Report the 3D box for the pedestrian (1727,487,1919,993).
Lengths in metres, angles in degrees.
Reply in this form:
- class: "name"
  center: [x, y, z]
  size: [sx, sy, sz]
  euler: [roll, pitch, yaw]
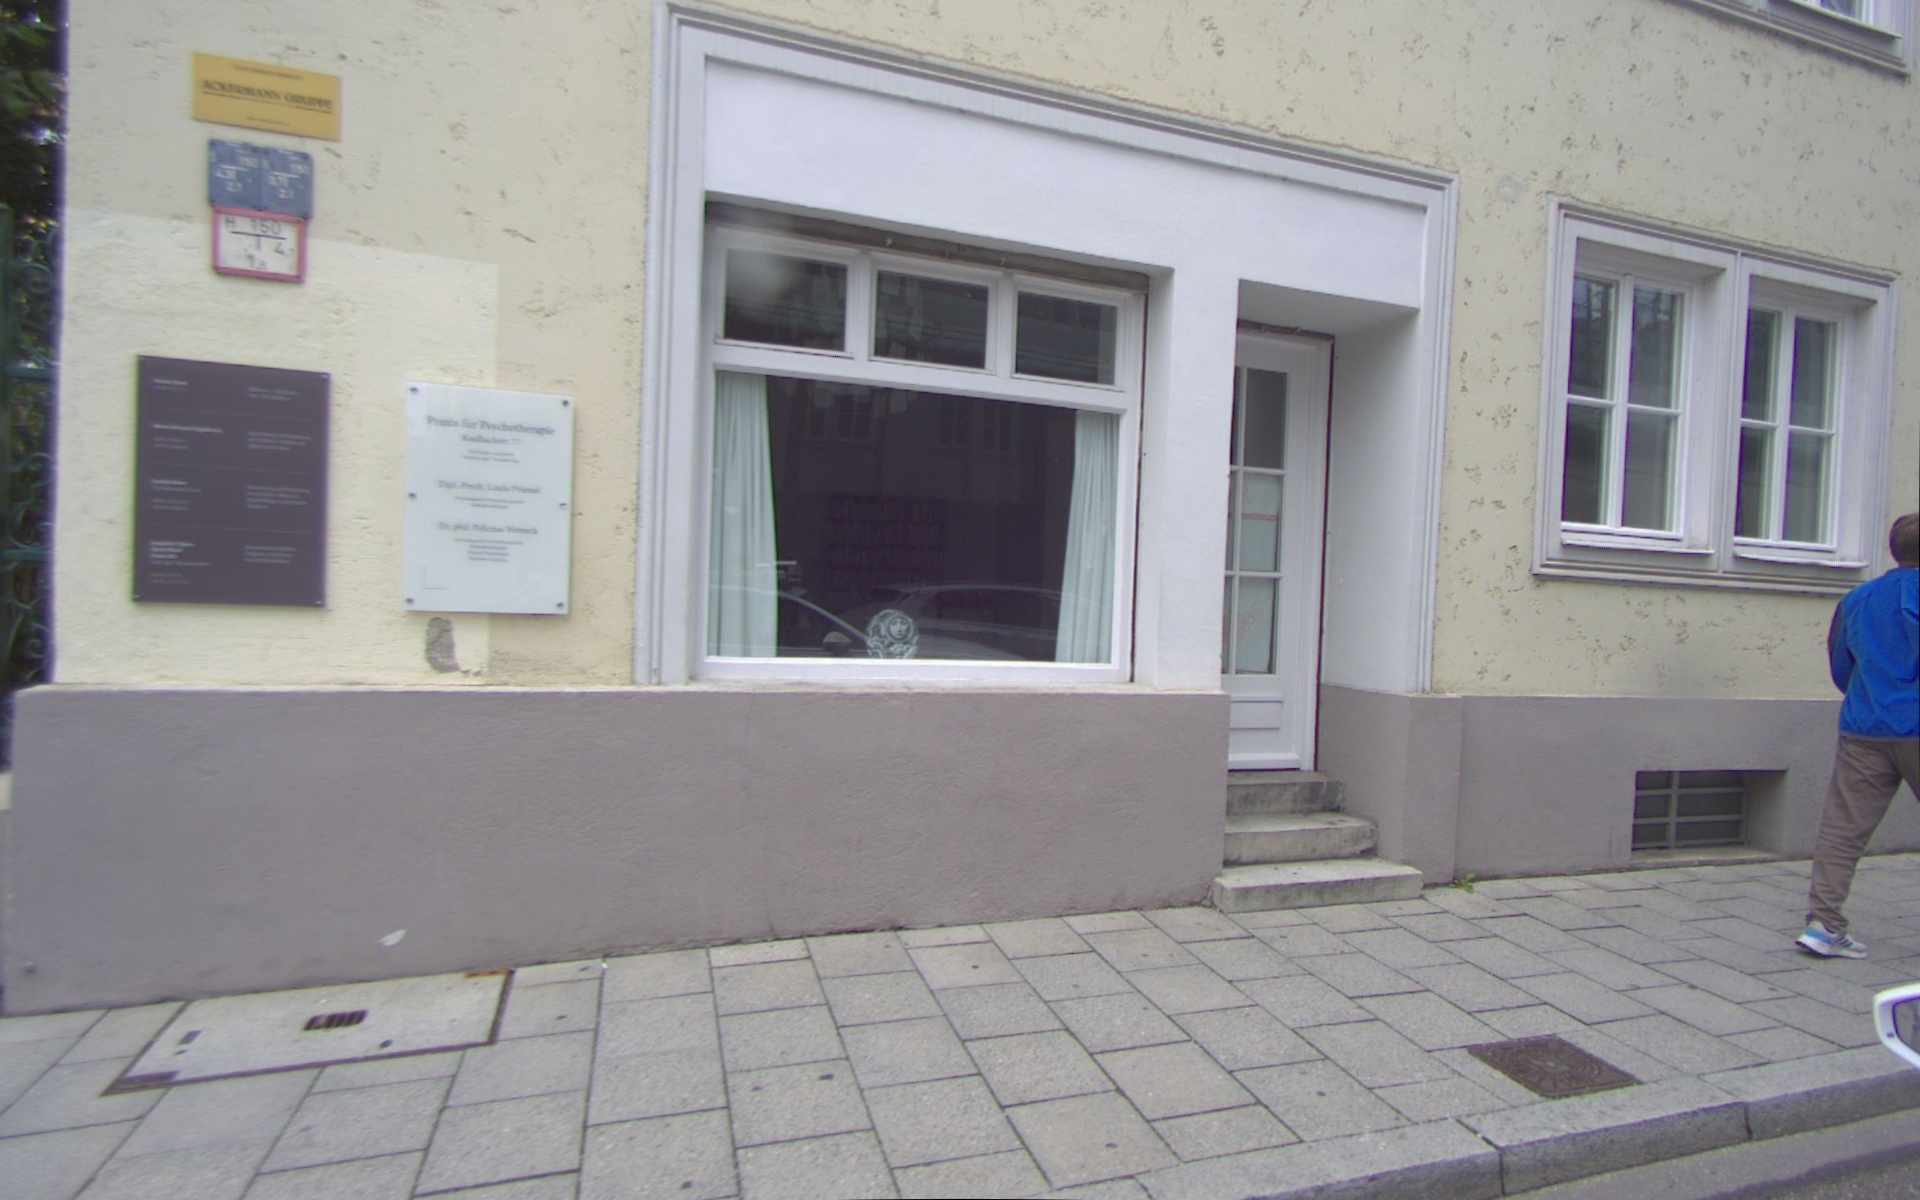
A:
- class: "pedestrian"
  center: [4.010, 0.525, 4.162]
  size: [1.060, 1.879, 0.756]
  euler: [2, 2, -18]
